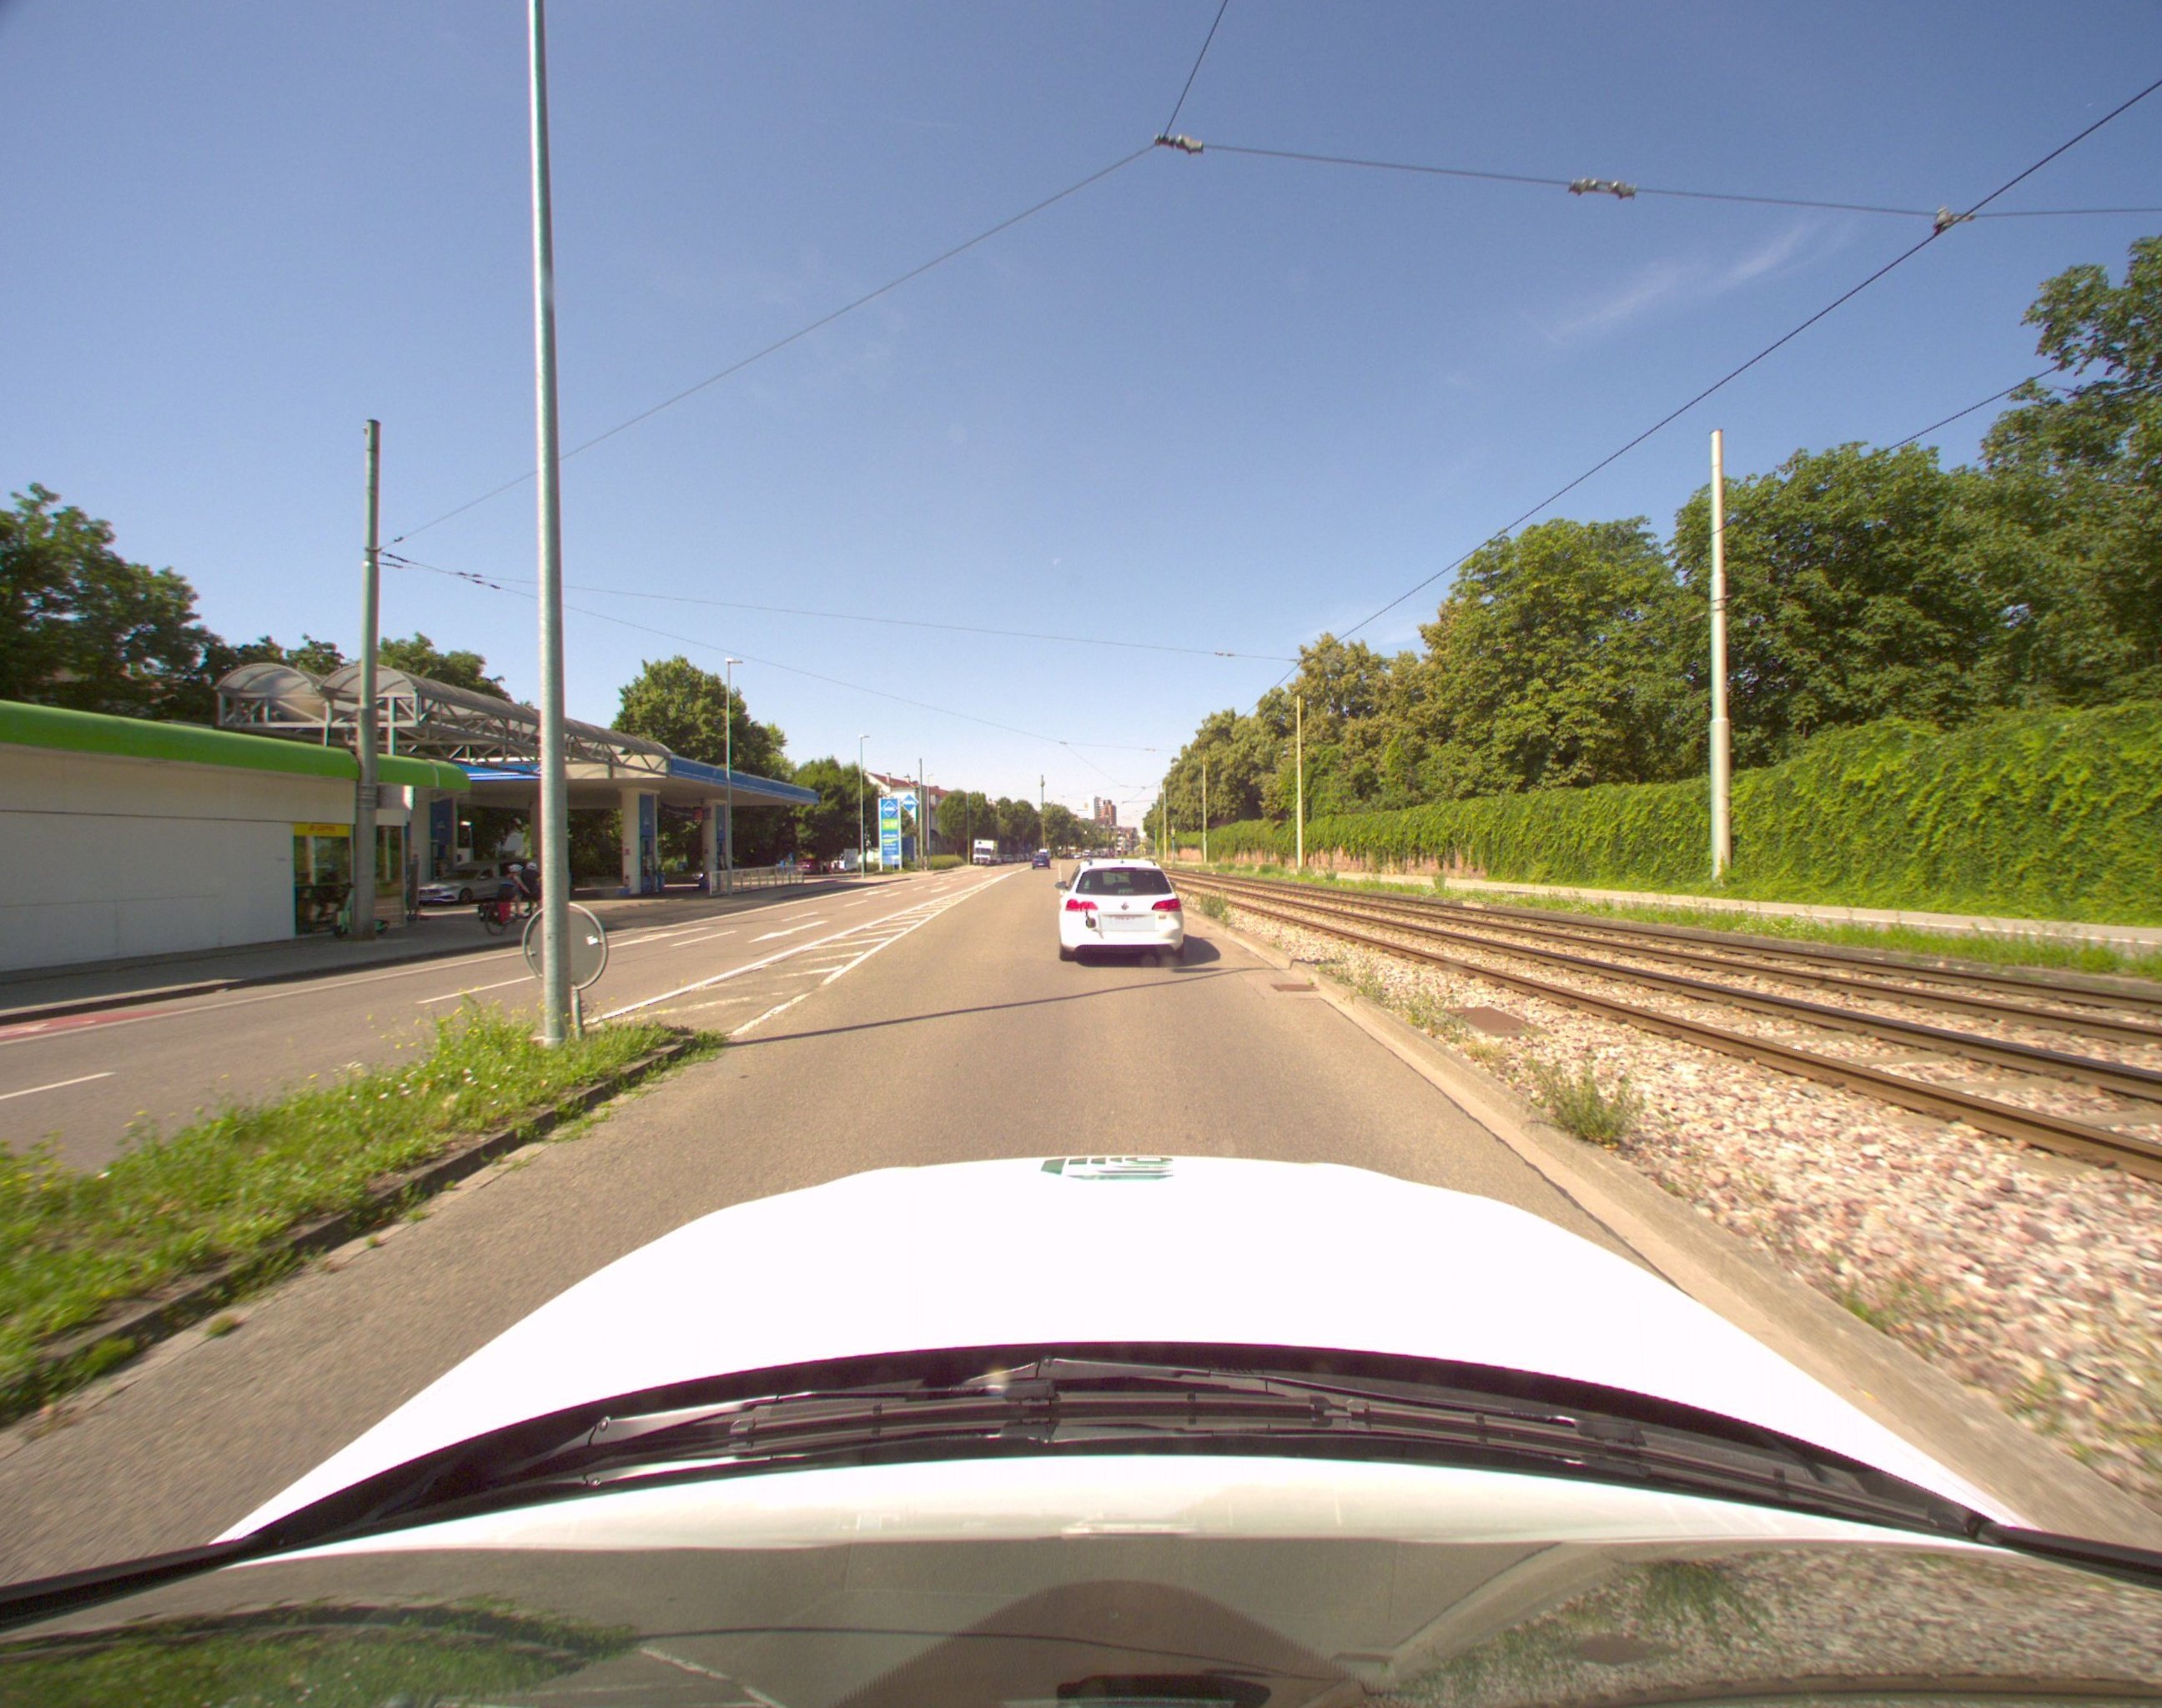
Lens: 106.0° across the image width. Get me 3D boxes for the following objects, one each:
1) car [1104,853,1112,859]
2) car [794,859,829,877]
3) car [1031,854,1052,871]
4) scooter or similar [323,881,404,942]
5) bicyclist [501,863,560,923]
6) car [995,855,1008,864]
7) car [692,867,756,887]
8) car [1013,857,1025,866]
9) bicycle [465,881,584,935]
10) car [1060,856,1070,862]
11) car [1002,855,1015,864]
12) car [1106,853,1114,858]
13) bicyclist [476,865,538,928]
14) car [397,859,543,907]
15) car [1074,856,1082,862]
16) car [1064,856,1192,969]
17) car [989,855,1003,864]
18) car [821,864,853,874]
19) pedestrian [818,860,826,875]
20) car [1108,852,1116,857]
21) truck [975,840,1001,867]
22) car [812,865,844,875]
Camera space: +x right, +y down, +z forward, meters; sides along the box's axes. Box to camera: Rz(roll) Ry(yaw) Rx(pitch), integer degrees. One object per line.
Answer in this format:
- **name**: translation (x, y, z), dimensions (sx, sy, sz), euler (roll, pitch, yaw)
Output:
- **car**: translation (7.088, 0.537, 212.776), dimensions (1.791, 1.507, 4.008), euler (0, 0, 7)
- **car**: translation (-25.451, 1.296, 77.106), dimensions (1.794, 1.570, 4.515), euler (-1, 1, -1)
- **car**: translation (-3.791, 0.777, 78.674), dimensions (1.795, 1.507, 4.000), euler (0, 1, 0)
- **scooter or similar**: translation (-15.701, 1.241, 17.865), dimensions (0.439, 1.237, 1.348), euler (-1, 0, 8)
- **bicyclist**: translation (-13.596, 0.953, 20.145), dimensions (0.843, 1.436, 0.833), euler (-1, 0, 4)
- **car**: translation (-12.989, 0.909, 132.749), dimensions (1.725, 1.552, 4.318), euler (0, 0, 0)
- **car**: translation (-26.329, 1.661, 60.166), dimensions (1.784, 1.346, 4.266), euler (-2, 0, 22)
- **car**: translation (-11.823, 1.427, 156.037), dimensions (1.709, 1.625, 4.316), euler (0, 0, 3)
- **bicycle**: translation (-13.538, 1.279, 19.946), dimensions (0.821, 1.094, 2.776), euler (-1, 0, 5)
- **car**: translation (-4.236, 1.331, 216.240), dimensions (1.689, 1.417, 4.012), euler (-1, -1, 11)
- **car**: translation (-12.767, 0.944, 143.397), dimensions (1.774, 1.483, 4.856), euler (0, -1, 0)
- **car**: translation (7.781, 0.358, 218.409), dimensions (1.791, 1.460, 4.008), euler (0, 0, 7)
- **bicyclist**: translation (-13.655, 0.990, 19.395), dimensions (0.843, 1.435, 0.833), euler (0, 1, 4)
- **car**: translation (-25.503, 1.140, 34.357), dimensions (1.839, 1.781, 5.959), euler (-1, 0, -2)
- **car**: translation (-0.766, 1.280, 206.394), dimensions (1.651, 1.420, 4.314), euler (-3, 0, 4)
- **car**: translation (0.584, 0.770, 12.882), dimensions (1.686, 1.451, 4.456), euler (0, 0, -1)
- **car**: translation (-13.061, 0.811, 125.177), dimensions (1.752, 1.429, 4.280), euler (0, 0, -1)
- **car**: translation (-32.481, 1.993, 108.353), dimensions (3.628, 1.205, 1.579), euler (-2, 0, 9)
- **pedestrian**: translation (-24.695, 1.295, 77.626), dimensions (0.497, 1.481, 0.500), euler (-1, 0, -1)
- **car**: translation (8.693, 0.115, 226.790), dimensions (1.791, 1.460, 4.008), euler (-1, 0, 7)
- **truck**: translation (-12.854, -0.065, 112.650), dimensions (2.659, 3.530, 8.587), euler (0, 0, -1)
- **car**: translation (-32.992, 2.060, 106.088), dimensions (3.628, 1.205, 1.579), euler (-2, 0, 9)
